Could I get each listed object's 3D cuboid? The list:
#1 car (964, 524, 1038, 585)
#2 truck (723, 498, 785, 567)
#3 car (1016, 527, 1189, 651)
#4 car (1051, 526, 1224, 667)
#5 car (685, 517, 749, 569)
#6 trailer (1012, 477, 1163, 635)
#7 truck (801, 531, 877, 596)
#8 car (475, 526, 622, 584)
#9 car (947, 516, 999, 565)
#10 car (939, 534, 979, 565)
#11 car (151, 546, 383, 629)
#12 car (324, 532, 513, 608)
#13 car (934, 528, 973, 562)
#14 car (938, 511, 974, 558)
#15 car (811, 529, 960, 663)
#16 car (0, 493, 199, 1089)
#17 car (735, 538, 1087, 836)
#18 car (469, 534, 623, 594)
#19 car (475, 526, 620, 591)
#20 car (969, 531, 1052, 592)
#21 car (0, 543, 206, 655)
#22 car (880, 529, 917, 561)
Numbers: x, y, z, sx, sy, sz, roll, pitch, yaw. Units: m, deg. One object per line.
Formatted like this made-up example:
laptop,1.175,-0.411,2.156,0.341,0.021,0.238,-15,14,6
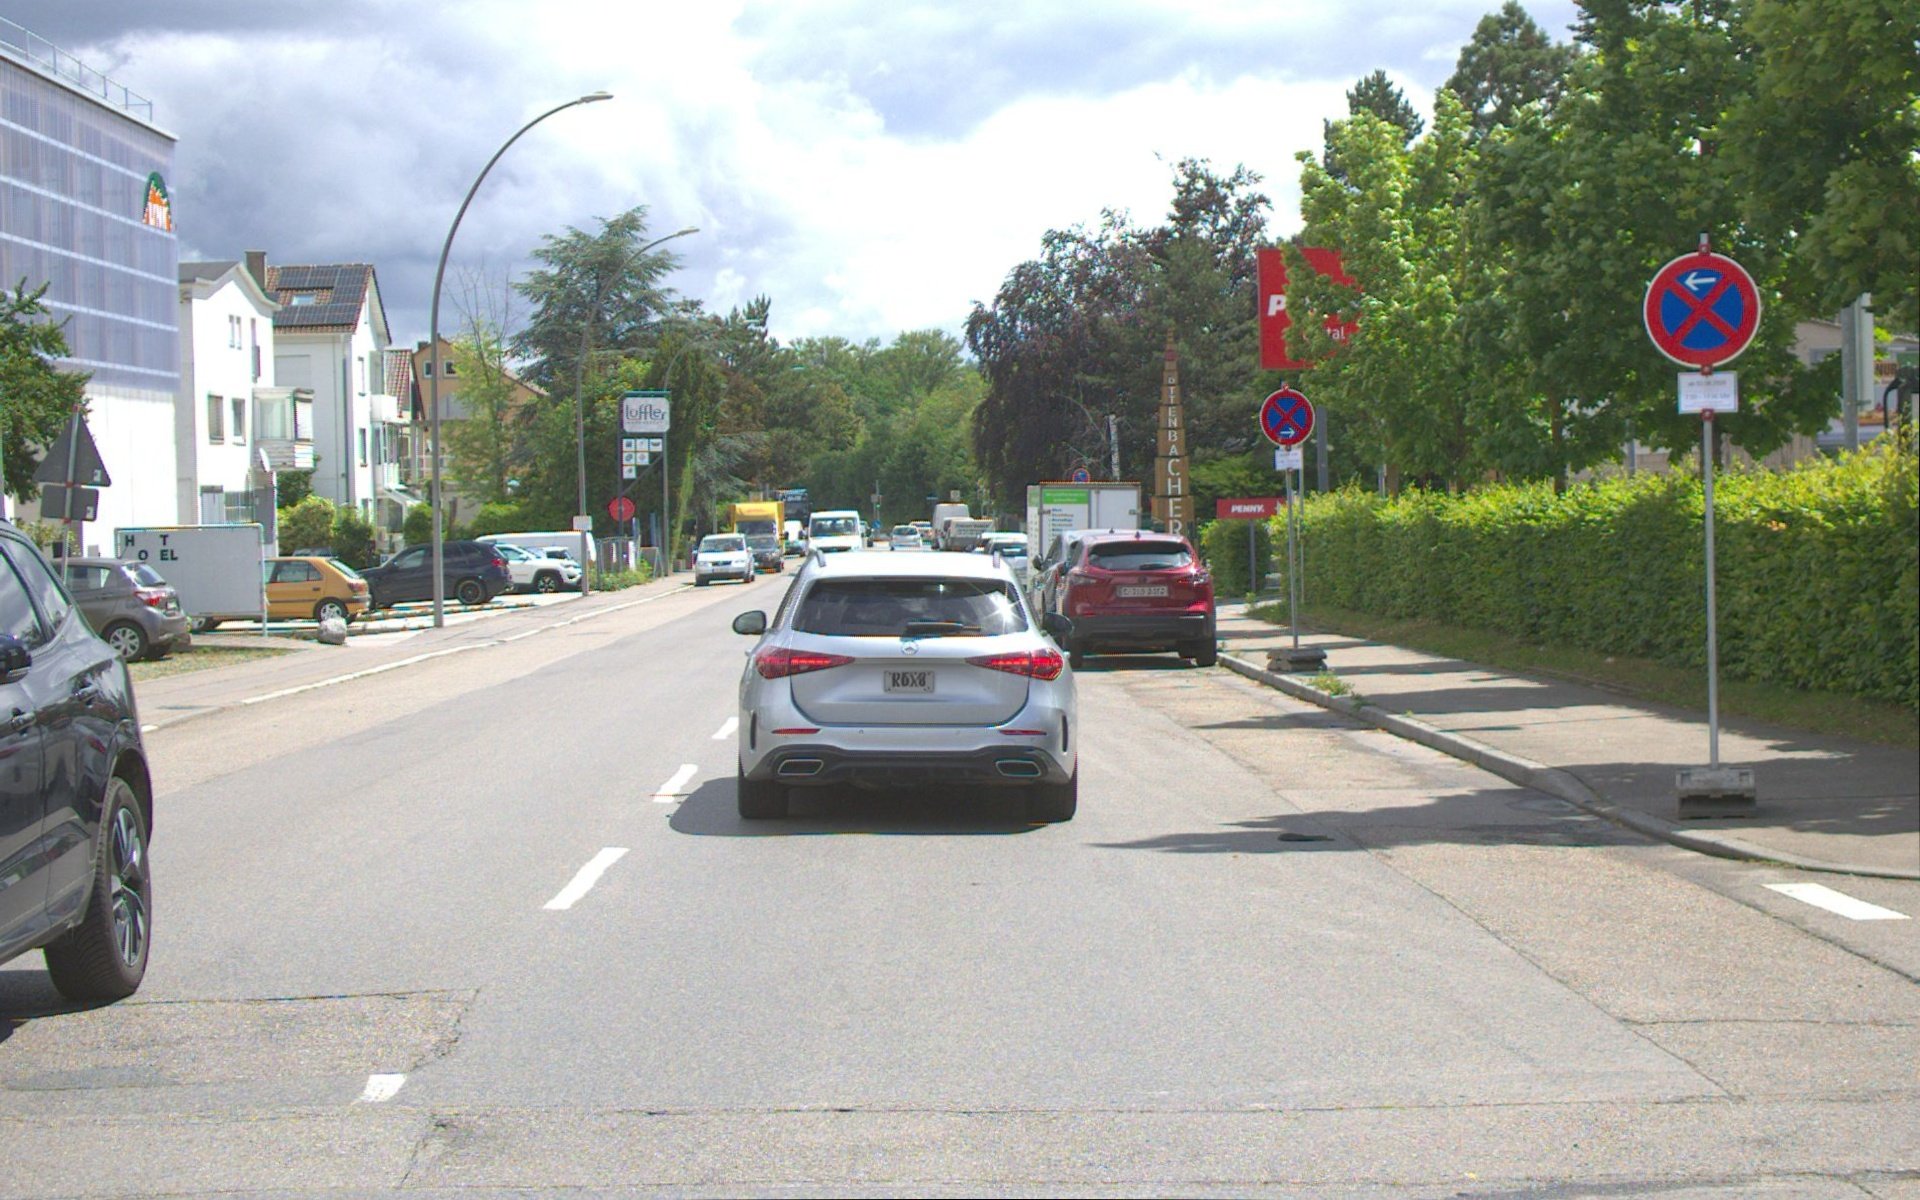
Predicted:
car,1.113,-1.271,94.723,1.791,1.546,4.574,-2,2,-2
truck,-8.735,-2.915,146.286,2.075,2.804,7.078,-2,2,0
car,1.903,-0.193,47.265,1.941,1.566,4.446,-2,1,-3
car,2.113,-0.088,42.045,1.941,1.566,4.446,-2,1,1
car,-7.936,-1.888,112.455,1.791,1.598,4.364,-2,2,-1
trailer,1.928,-0.687,53.157,1.941,2.286,4.446,-2,1,-2
truck,-4.349,-1.361,124.685,2.319,2.171,6.449,-2,1,1
car,-12.529,-1.367,104.859,4.279,1.561,1.991,-1,-2,-2
car,0.549,-2.573,147.865,2.144,1.977,5.261,-1,1,0
car,-0.060,-2.433,166.686,1.784,1.479,4.317,0,1,-3
car,-13.298,-0.246,66.164,4.149,1.486,1.826,1,1,-4
car,-14.245,-0.800,90.643,4.626,1.627,2.198,-4,2,-4
car,-0.332,-2.776,173.384,1.784,1.709,4.317,0,1,-3
car,-0.226,-3.535,185.421,1.784,2.510,4.317,0,1,-3
car,-0.937,-0.091,42.901,1.755,1.553,4.001,-1,1,-2
car,-3.633,0.541,9.797,1.993,1.610,4.412,-2,2,-2
car,-0.346,0.402,19.591,1.784,1.479,4.317,0,1,-3
car,-12.244,-1.062,101.859,4.279,1.561,1.991,-1,-2,0
car,-12.831,-1.296,107.168,4.279,1.830,1.991,-1,-2,-2
car,1.275,-1.008,88.900,1.791,1.445,4.364,-2,2,-3
car,-12.908,-0.021,49.454,3.628,1.527,1.980,-1,1,2
car,-3.051,-2.721,169.376,1.755,1.553,4.001,-1,1,-2
